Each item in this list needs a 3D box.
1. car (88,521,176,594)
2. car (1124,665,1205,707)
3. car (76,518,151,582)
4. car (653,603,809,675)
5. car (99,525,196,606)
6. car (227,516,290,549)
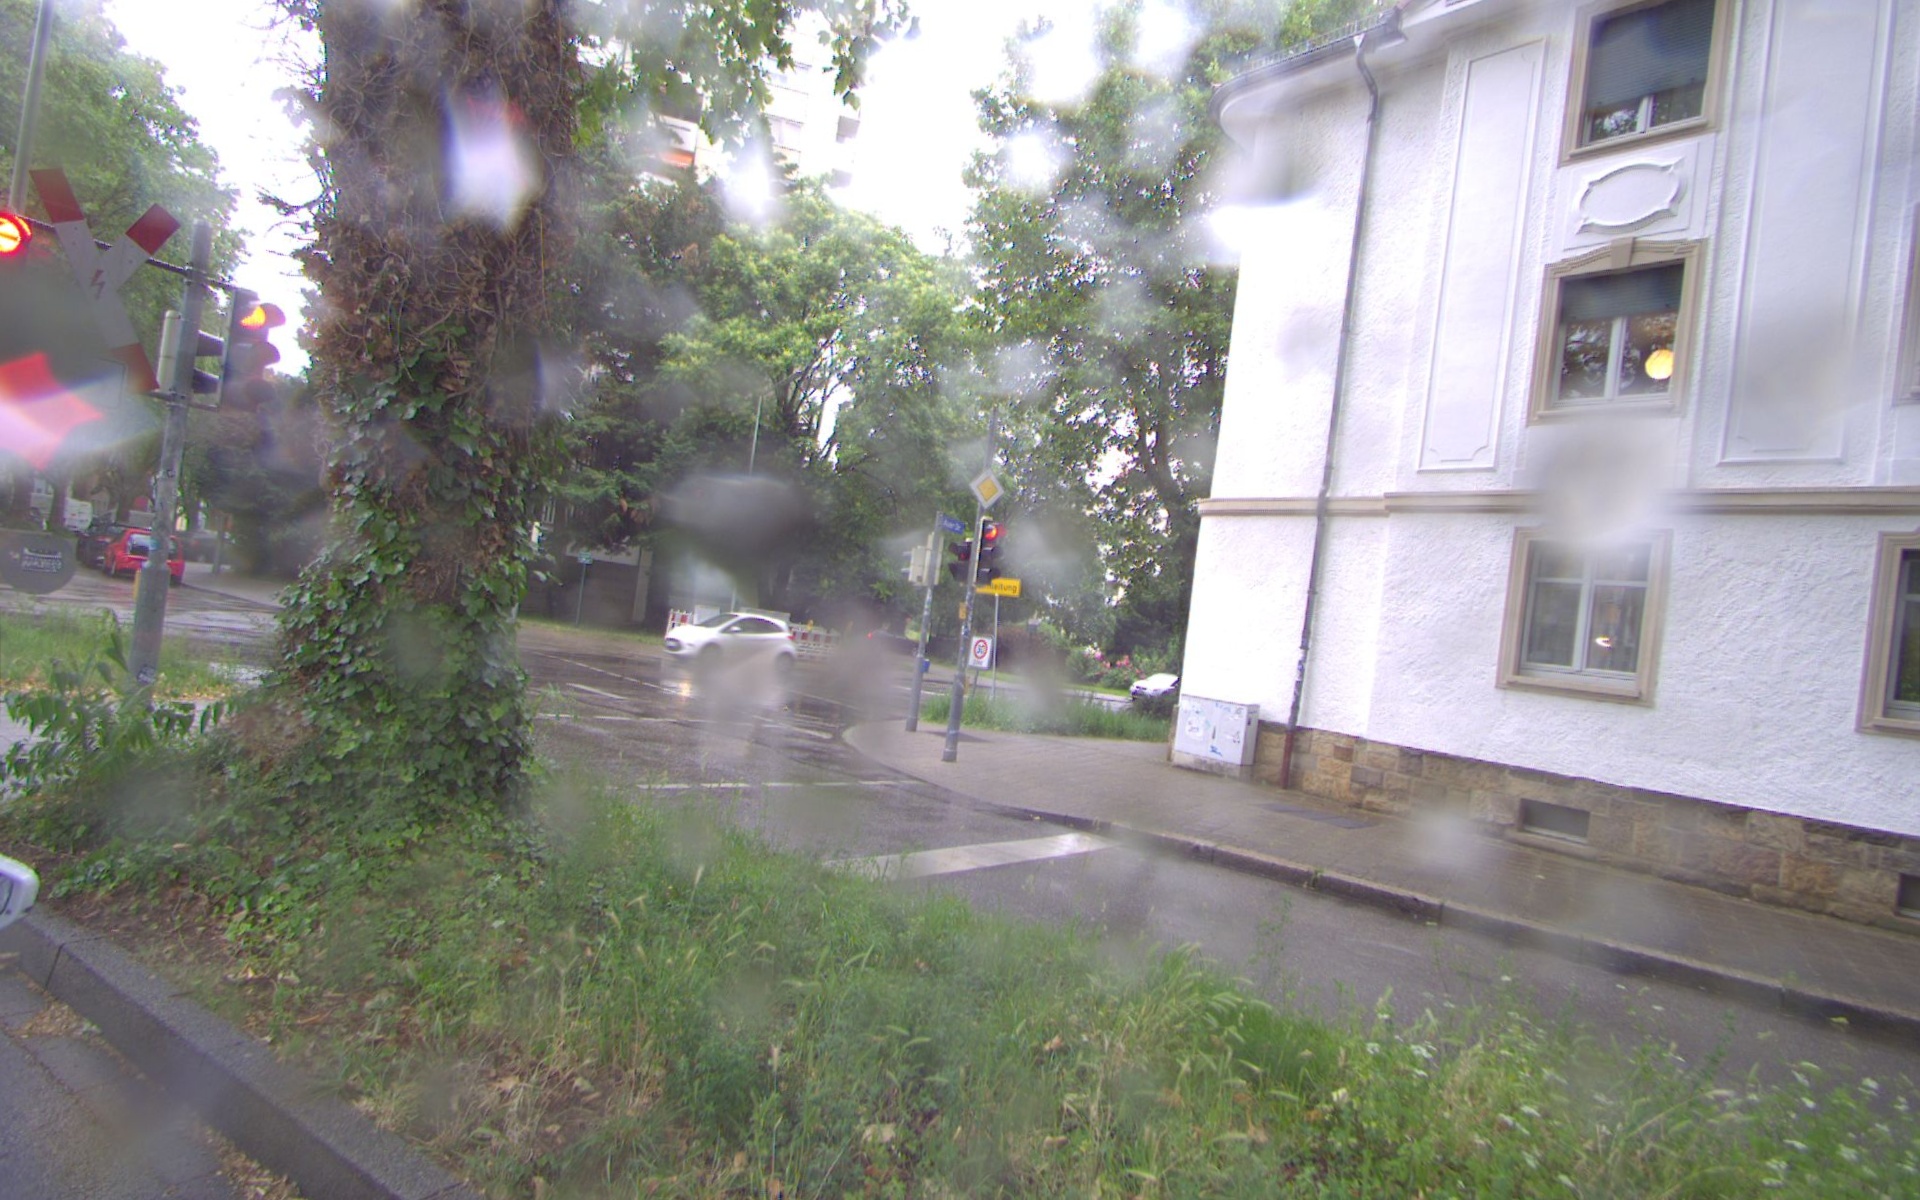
[{"bbox_3d":[-27.956,-1.448,33.926,1.986,2.038,3.953,7,0,-42],"label":"car"},{"bbox_3d":[9.295,3.908,45.649,3.630,1.504,1.704,8,0,-43],"label":"car"},{"bbox_3d":[-32.839,-1.964,38.985,1.986,2.038,3.953,7,0,-42],"label":"car"},{"bbox_3d":[-6.099,1.074,27.011,3.630,1.504,1.704,8,0,-43],"label":"car"},{"bbox_3d":[-24.851,-1.089,30.731,1.986,2.038,3.953,7,0,-42],"label":"car"},{"bbox_3d":[-57.082,-5.467,81.844,3.969,2.038,1.689,7,0,-39],"label":"car"}]
